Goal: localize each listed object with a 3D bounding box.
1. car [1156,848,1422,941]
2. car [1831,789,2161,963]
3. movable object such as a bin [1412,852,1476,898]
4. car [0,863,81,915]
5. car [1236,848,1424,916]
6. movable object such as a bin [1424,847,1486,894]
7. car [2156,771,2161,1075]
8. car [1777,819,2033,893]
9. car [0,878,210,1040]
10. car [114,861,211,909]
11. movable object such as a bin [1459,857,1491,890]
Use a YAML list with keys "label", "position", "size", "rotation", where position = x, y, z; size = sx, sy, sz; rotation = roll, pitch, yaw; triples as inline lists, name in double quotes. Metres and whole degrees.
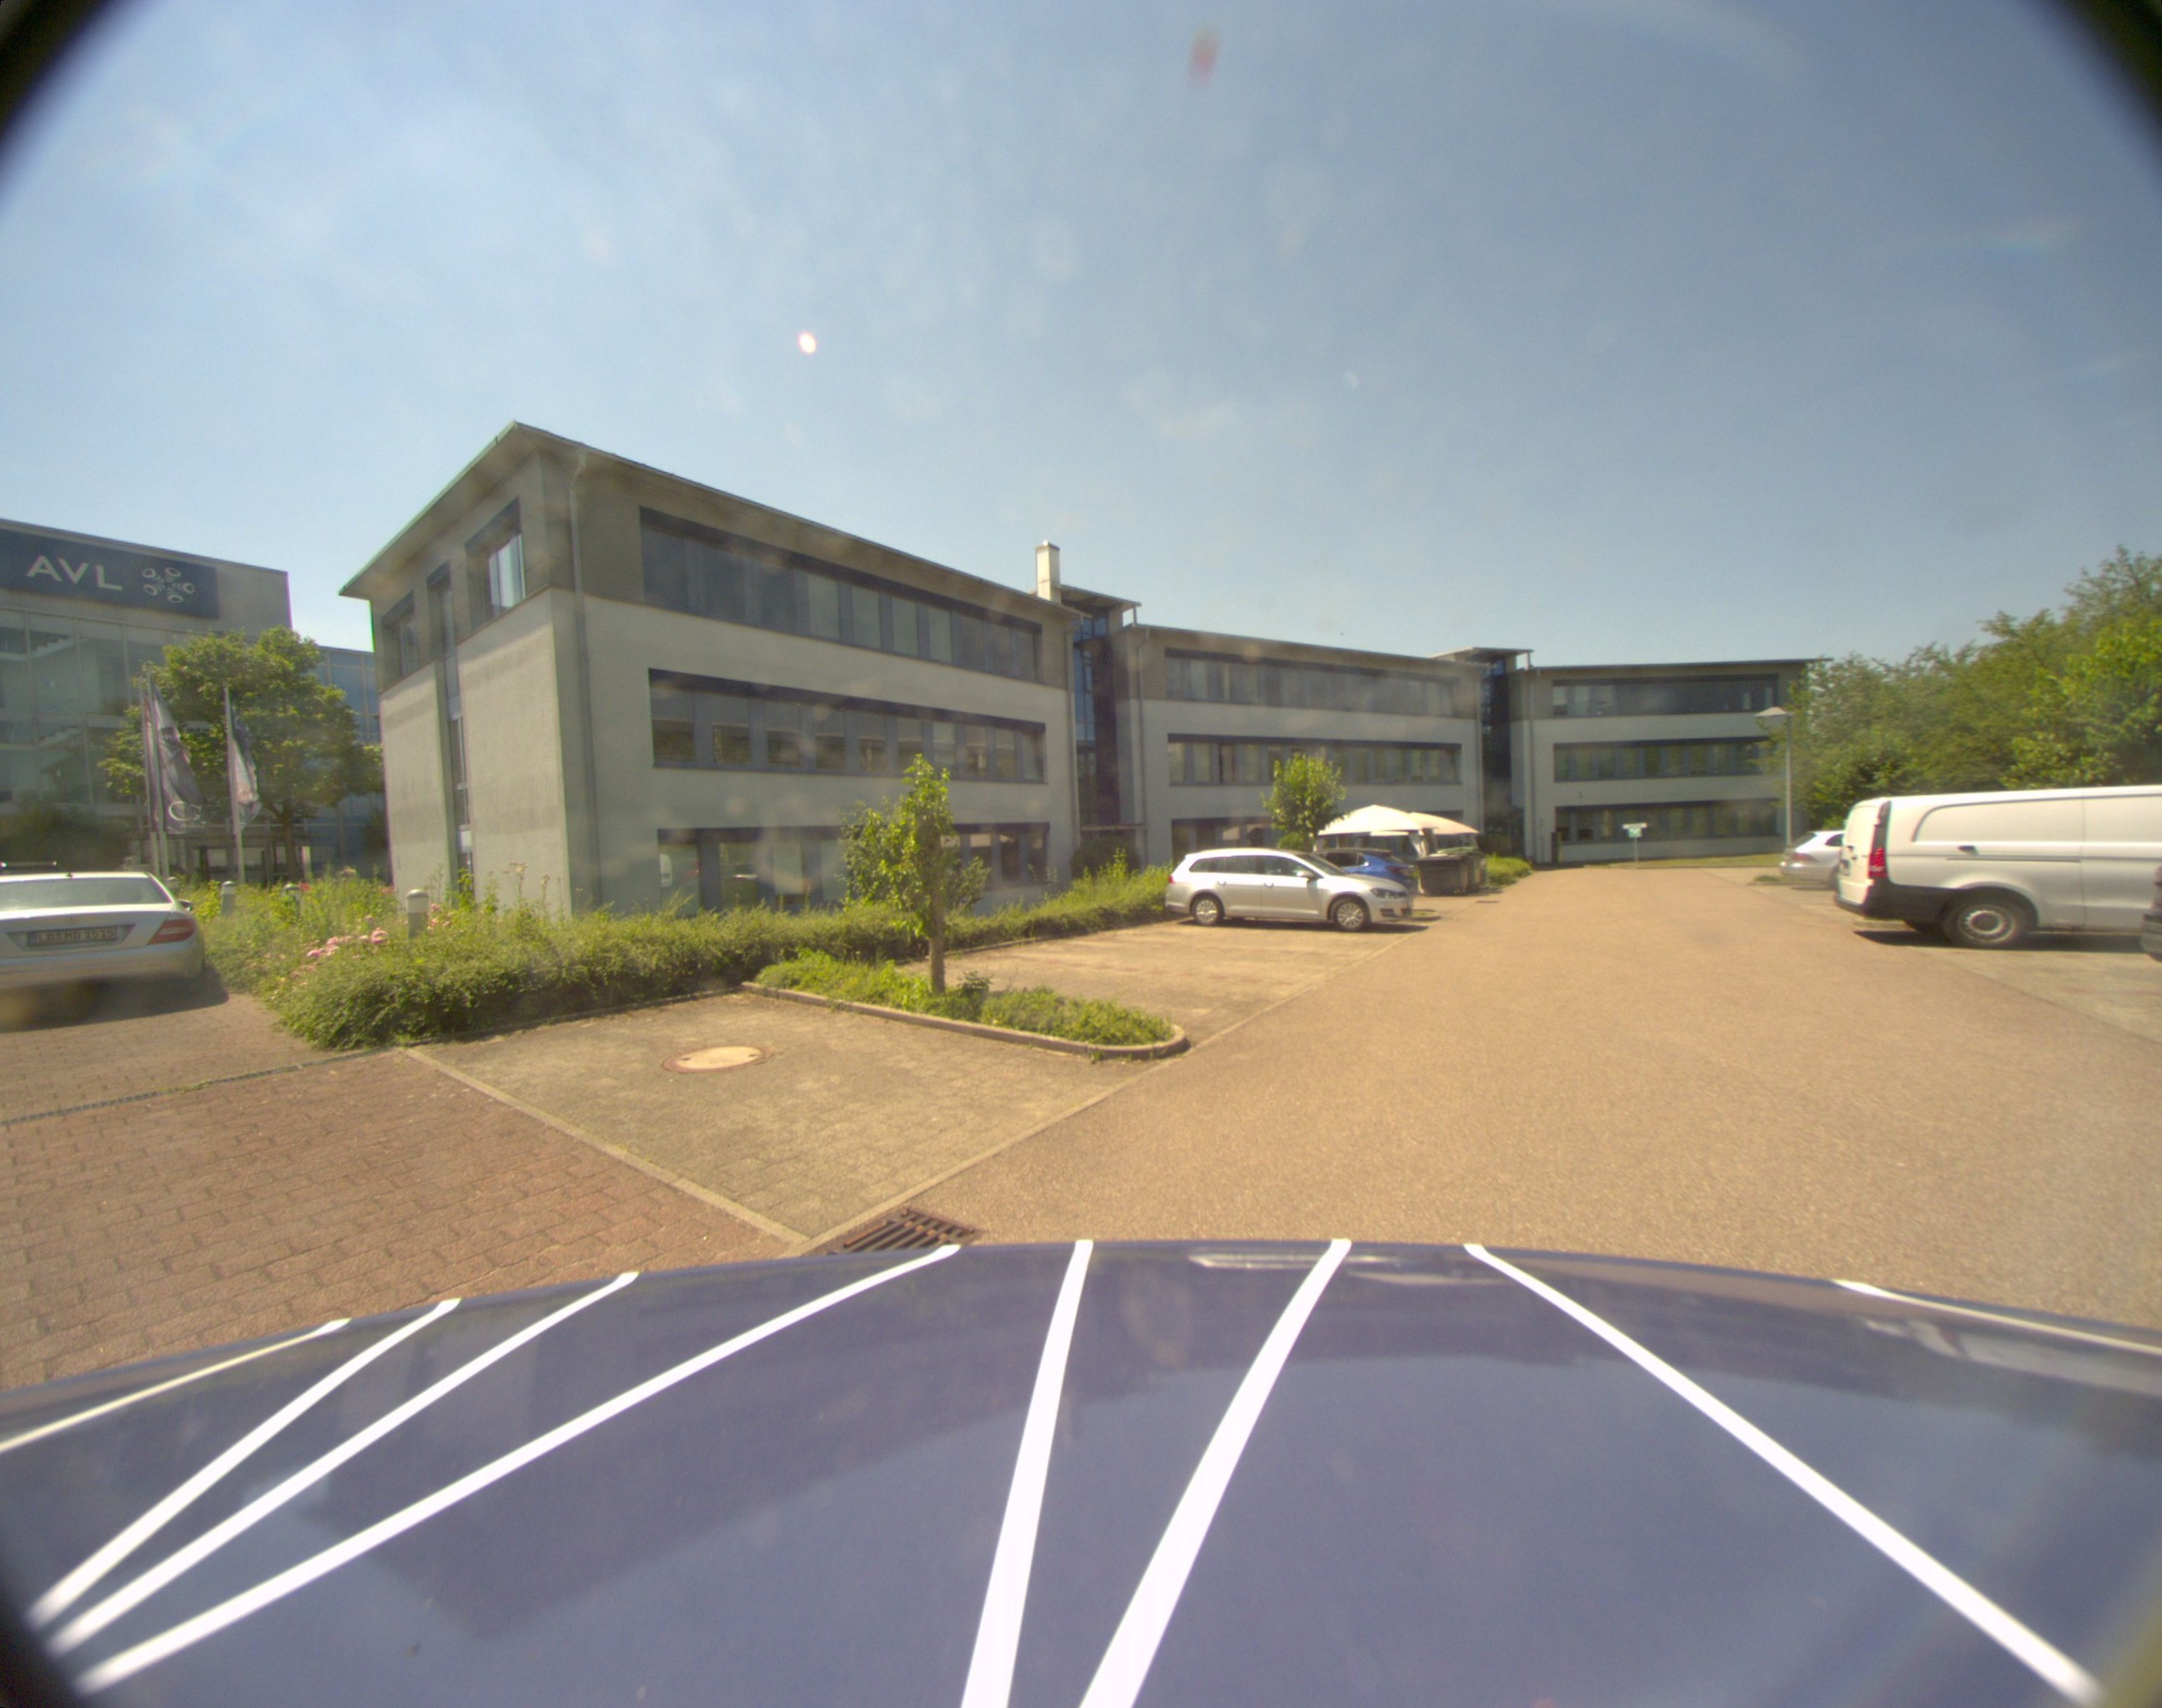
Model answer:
- label: "car"
  position: [3.878, 0.674, 14.428]
  size: [4.508, 1.489, 1.832]
  rotation: [0, 2, 33]
- label: "car"
  position: [12.138, 0.217, 8.883]
  size: [4.508, 1.871, 1.832]
  rotation: [-2, 1, 33]
- label: "movable object such as a bin"
  position: [10.049, 0.572, 21.028]
  size: [1.361, 1.182, 0.999]
  rotation: [-1, 1, 39]
- label: "car"
  position: [-33.774, 1.100, 24.400]
  size: [3.989, 1.510, 1.753]
  rotation: [-2, 1, 34]
- label: "car"
  position: [5.698, 0.570, 17.517]
  size: [3.816, 1.384, 1.655]
  rotation: [0, 2, 33]
- label: "movable object such as a bin"
  position: [10.746, 0.466, 21.847]
  size: [1.361, 1.288, 1.045]
  rotation: [-1, 1, 39]
- label: "car"
  position: [8.213, 0.399, 2.700]
  size: [4.722, 1.895, 1.833]
  rotation: [-2, 1, 33]
- label: "car"
  position: [18.974, 0.064, 17.754]
  size: [3.755, 1.549, 1.664]
  rotation: [-2, 1, 33]
- label: "car"
  position: [-11.242, 1.024, 8.376]
  size: [3.706, 1.428, 1.733]
  rotation: [-1, 1, 35]
- label: "car"
  position: [-32.379, 1.062, 26.754]
  size: [3.989, 1.510, 1.753]
  rotation: [-2, 1, 34]
- label: "movable object such as a bin"
  position: [11.600, 0.575, 22.371]
  size: [0.689, 0.944, 0.723]
  rotation: [-1, 1, 39]
